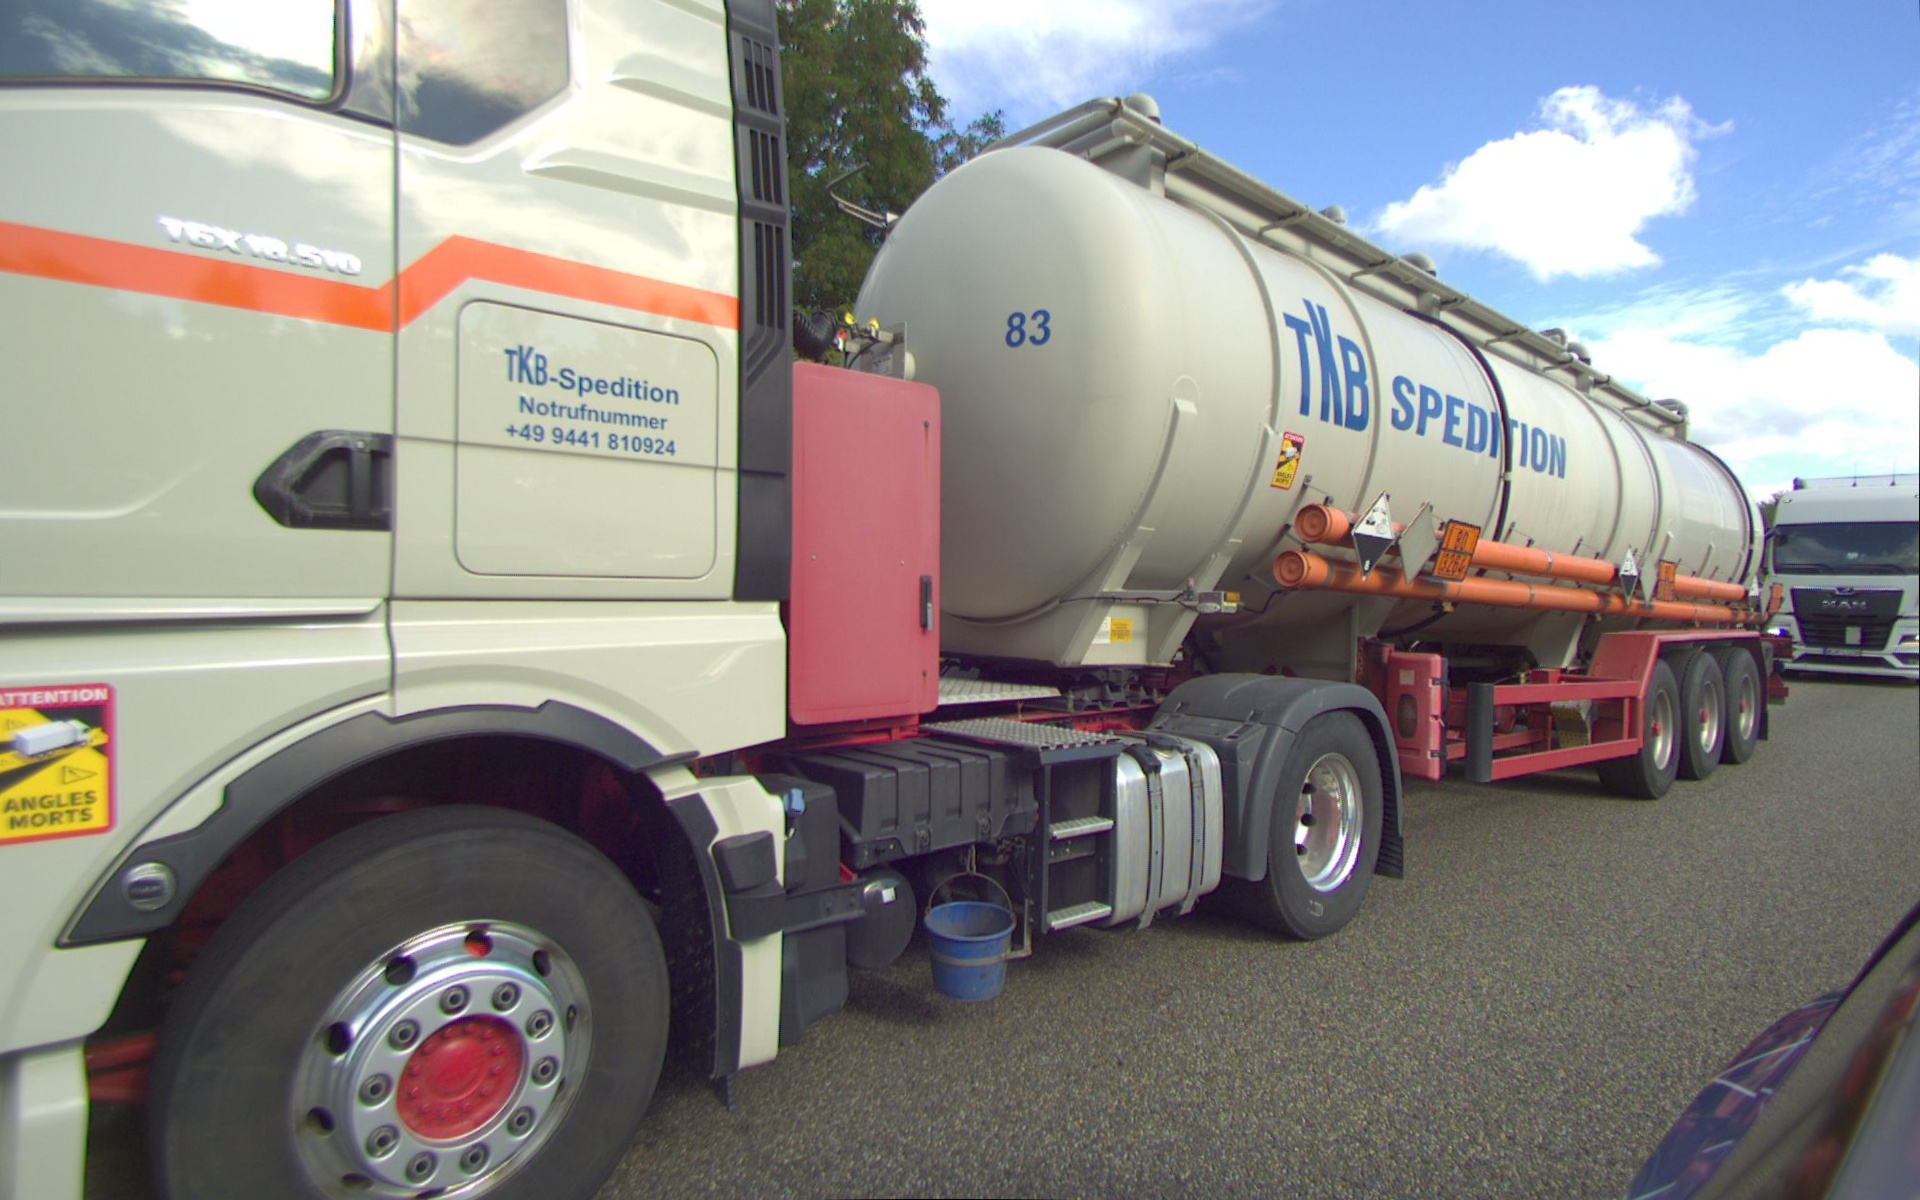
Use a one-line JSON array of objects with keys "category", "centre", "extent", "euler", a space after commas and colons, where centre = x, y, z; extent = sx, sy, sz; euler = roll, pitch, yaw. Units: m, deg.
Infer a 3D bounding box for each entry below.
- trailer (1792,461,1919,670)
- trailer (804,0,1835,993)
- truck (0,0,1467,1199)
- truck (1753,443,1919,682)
[{"category": "trailer", "centre": [23.495, -0.705, 24.610], "extent": [13.137, 4.122, 2.831], "euler": [0, 1, -41]}, {"category": "trailer", "centre": [4.188, -0.700, 8.197], "extent": [10.985, 4.077, 2.803], "euler": [0, 0, -41]}, {"category": "truck", "centre": [-0.705, -0.707, 3.977], "extent": [5.800, 4.094, 2.808], "euler": [0, 0, -41]}, {"category": "truck", "centre": [18.065, -0.666, 19.911], "extent": [5.607, 4.123, 2.839], "euler": [0, 0, -41]}]
